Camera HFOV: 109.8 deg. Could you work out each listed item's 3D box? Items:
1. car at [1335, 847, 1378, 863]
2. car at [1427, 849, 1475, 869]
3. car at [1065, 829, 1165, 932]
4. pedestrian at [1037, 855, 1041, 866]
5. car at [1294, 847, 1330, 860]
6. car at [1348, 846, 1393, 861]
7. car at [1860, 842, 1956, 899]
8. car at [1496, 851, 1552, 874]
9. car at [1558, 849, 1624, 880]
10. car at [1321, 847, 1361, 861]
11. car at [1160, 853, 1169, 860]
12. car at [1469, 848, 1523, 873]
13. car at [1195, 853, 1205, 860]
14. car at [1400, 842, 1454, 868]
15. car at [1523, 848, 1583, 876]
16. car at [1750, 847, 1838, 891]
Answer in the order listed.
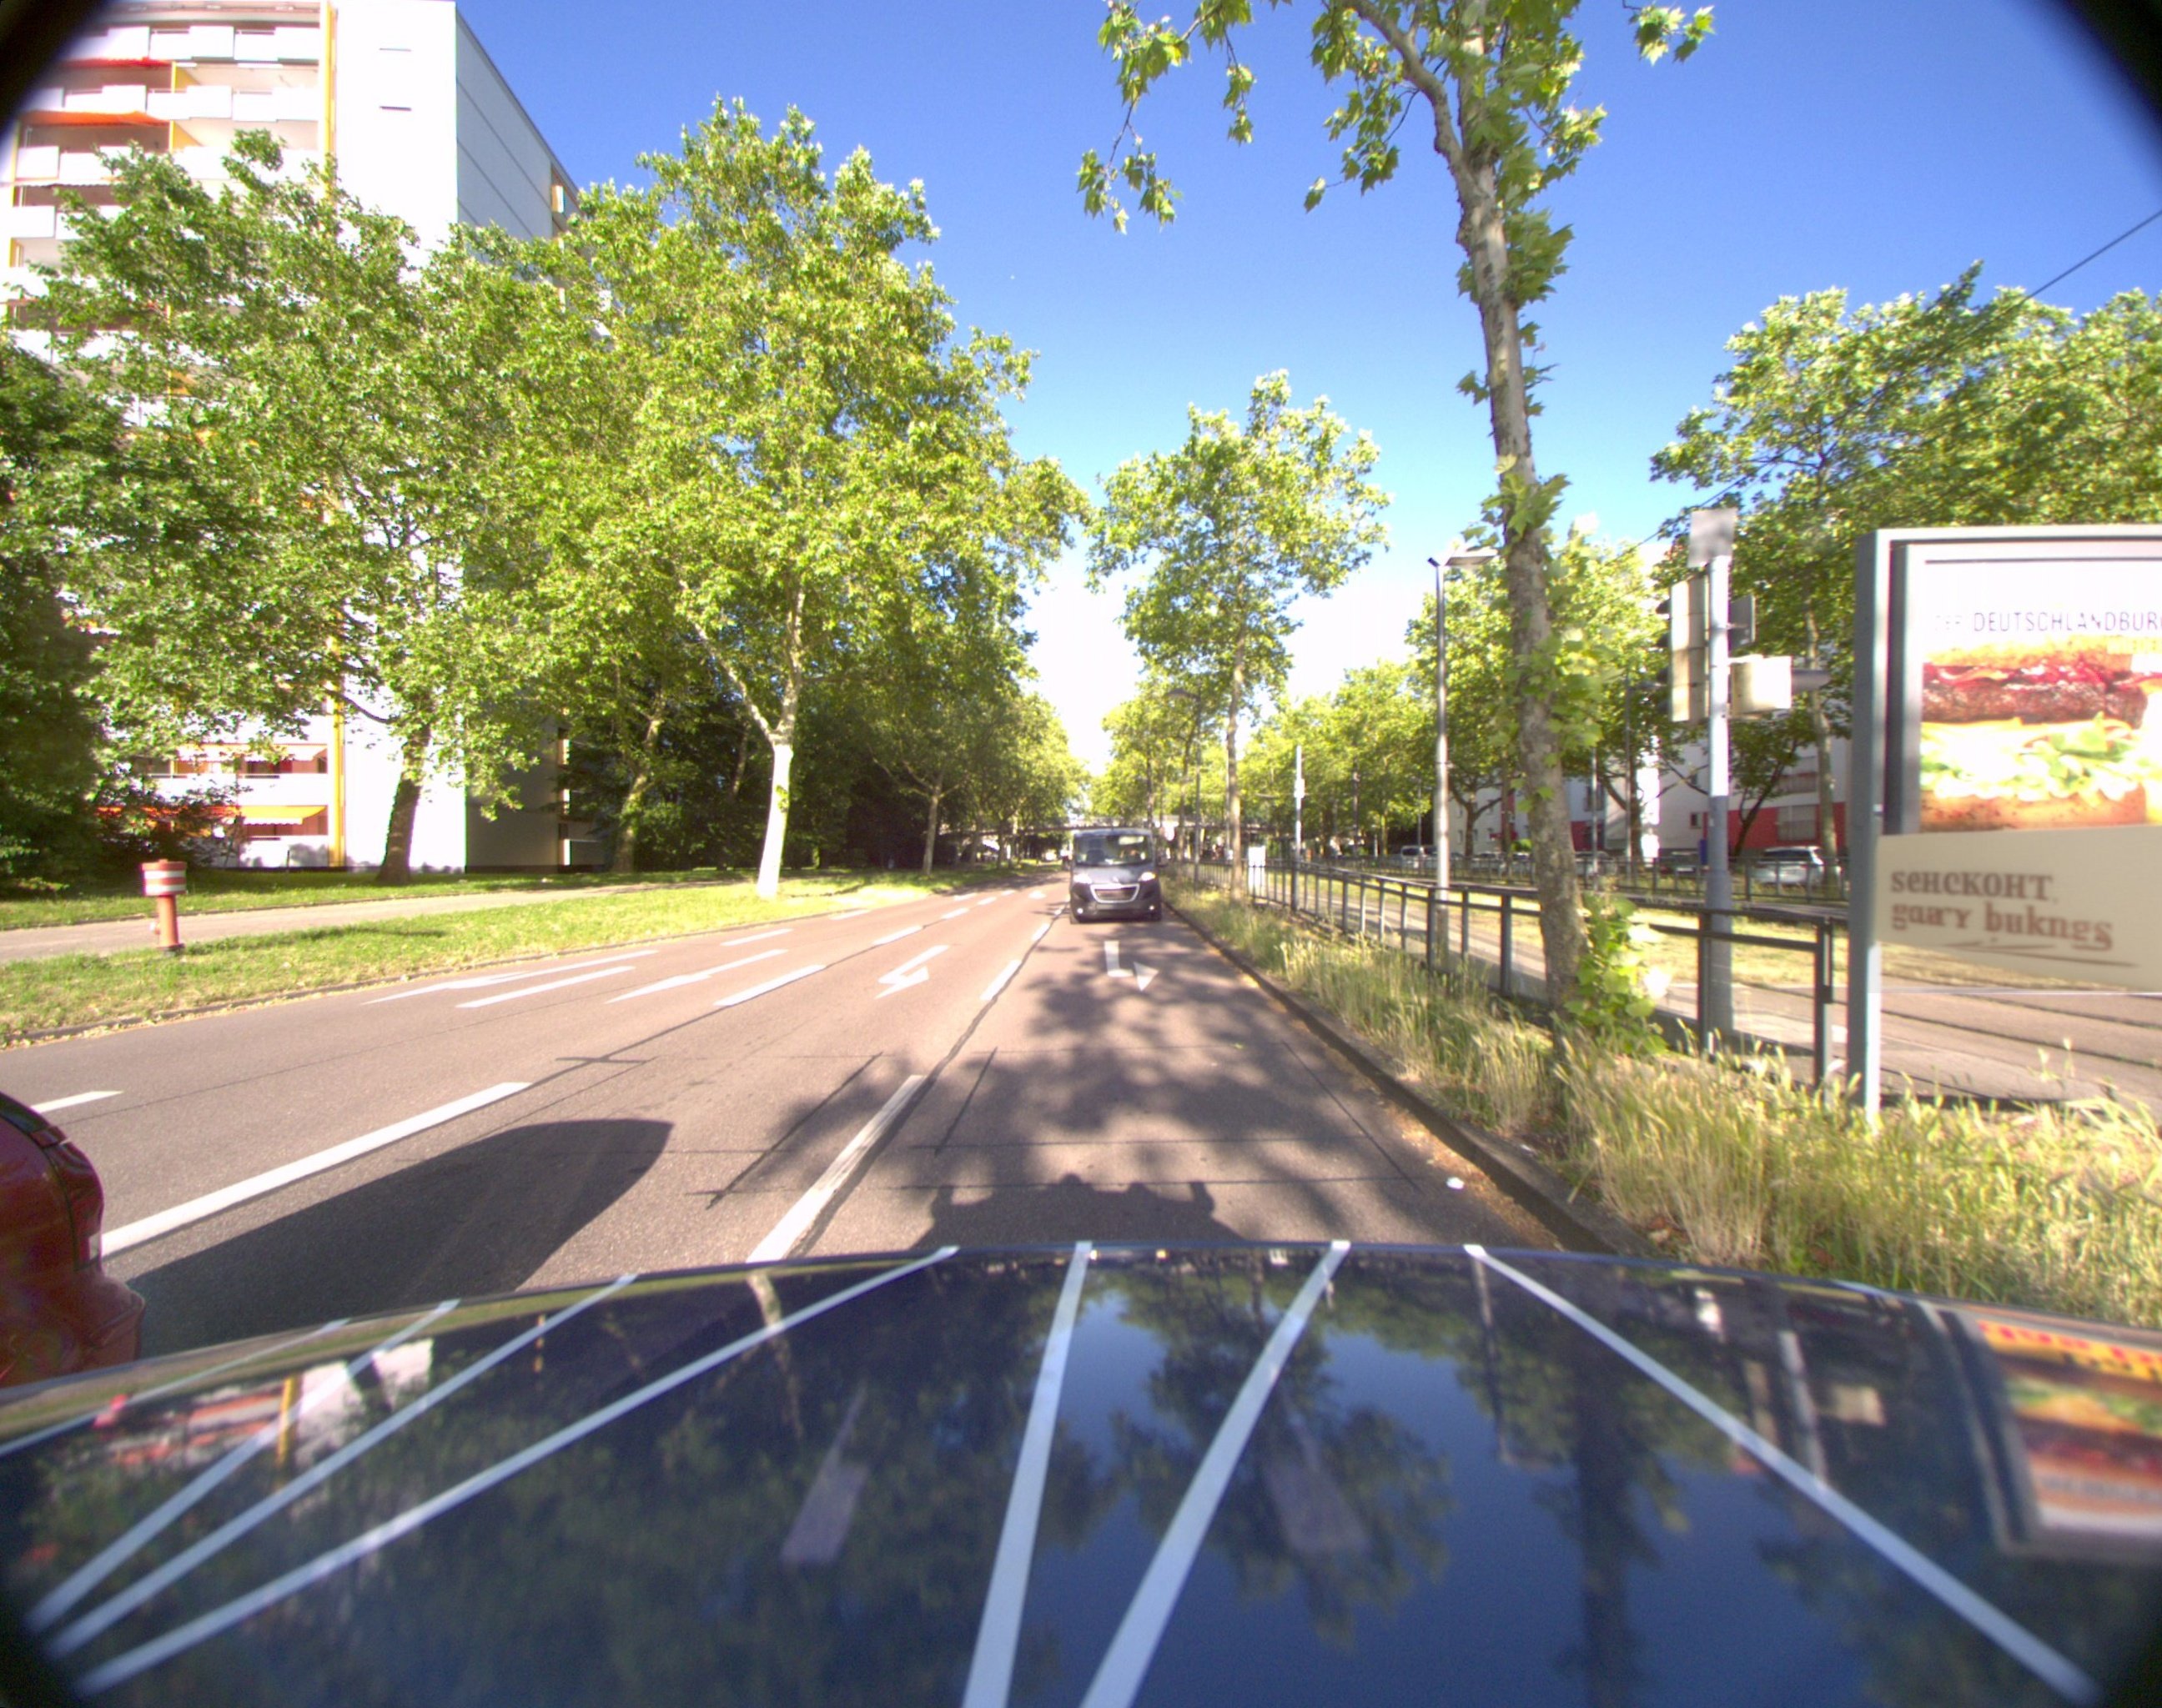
[{"bbox_3d":[26.585,0.092,73.265,4.376,1.367,1.919,-1,1,-39],"label":"car"},{"bbox_3d":[26.242,0.341,53.885,3.689,1.388,1.645,-1,1,-39],"label":"car"},{"bbox_3d":[0.749,0.542,18.470,2.040,2.102,5.113,-2,0,1],"label":"car"},{"bbox_3d":[-5.731,0.935,104.732,0.418,1.454,0.398,-1,1,-27],"label":"pedestrian"},{"bbox_3d":[27.198,-0.067,89.415,4.376,1.367,1.919,-1,1,-39],"label":"car"},{"bbox_3d":[26.834,-0.058,70.290,4.376,1.367,1.919,-1,1,-39],"label":"car"},{"bbox_3d":[25.015,0.457,22.947,3.689,1.558,1.683,-1,1,-38],"label":"car"},{"bbox_3d":[26.197,0.476,44.947,3.689,1.234,1.645,-1,1,-39],"label":"car"},{"bbox_3d":[25.327,0.495,37.677,3.689,1.384,1.645,-1,1,-38],"label":"car"},{"bbox_3d":[27.239,0.017,79.561,4.376,1.367,1.919,-1,1,-39],"label":"car"},{"bbox_3d":[21.153,0.573,193.092,1.923,1.565,4.368,-1,0,2],"label":"car"},{"bbox_3d":[25.954,0.409,47.482,3.689,1.440,1.645,-1,1,-39],"label":"car"},{"bbox_3d":[25.593,0.529,163.111,1.672,1.351,3.295,-1,0,1],"label":"car"},{"bbox_3d":[25.958,0.079,56.979,4.376,1.873,1.919,-1,1,-39],"label":"car"},{"bbox_3d":[25.808,0.423,41.505,3.689,1.440,1.645,-1,1,-39],"label":"car"},{"bbox_3d":[25.053,0.489,26.673,3.689,1.425,1.683,-1,1,-38],"label":"car"}]
